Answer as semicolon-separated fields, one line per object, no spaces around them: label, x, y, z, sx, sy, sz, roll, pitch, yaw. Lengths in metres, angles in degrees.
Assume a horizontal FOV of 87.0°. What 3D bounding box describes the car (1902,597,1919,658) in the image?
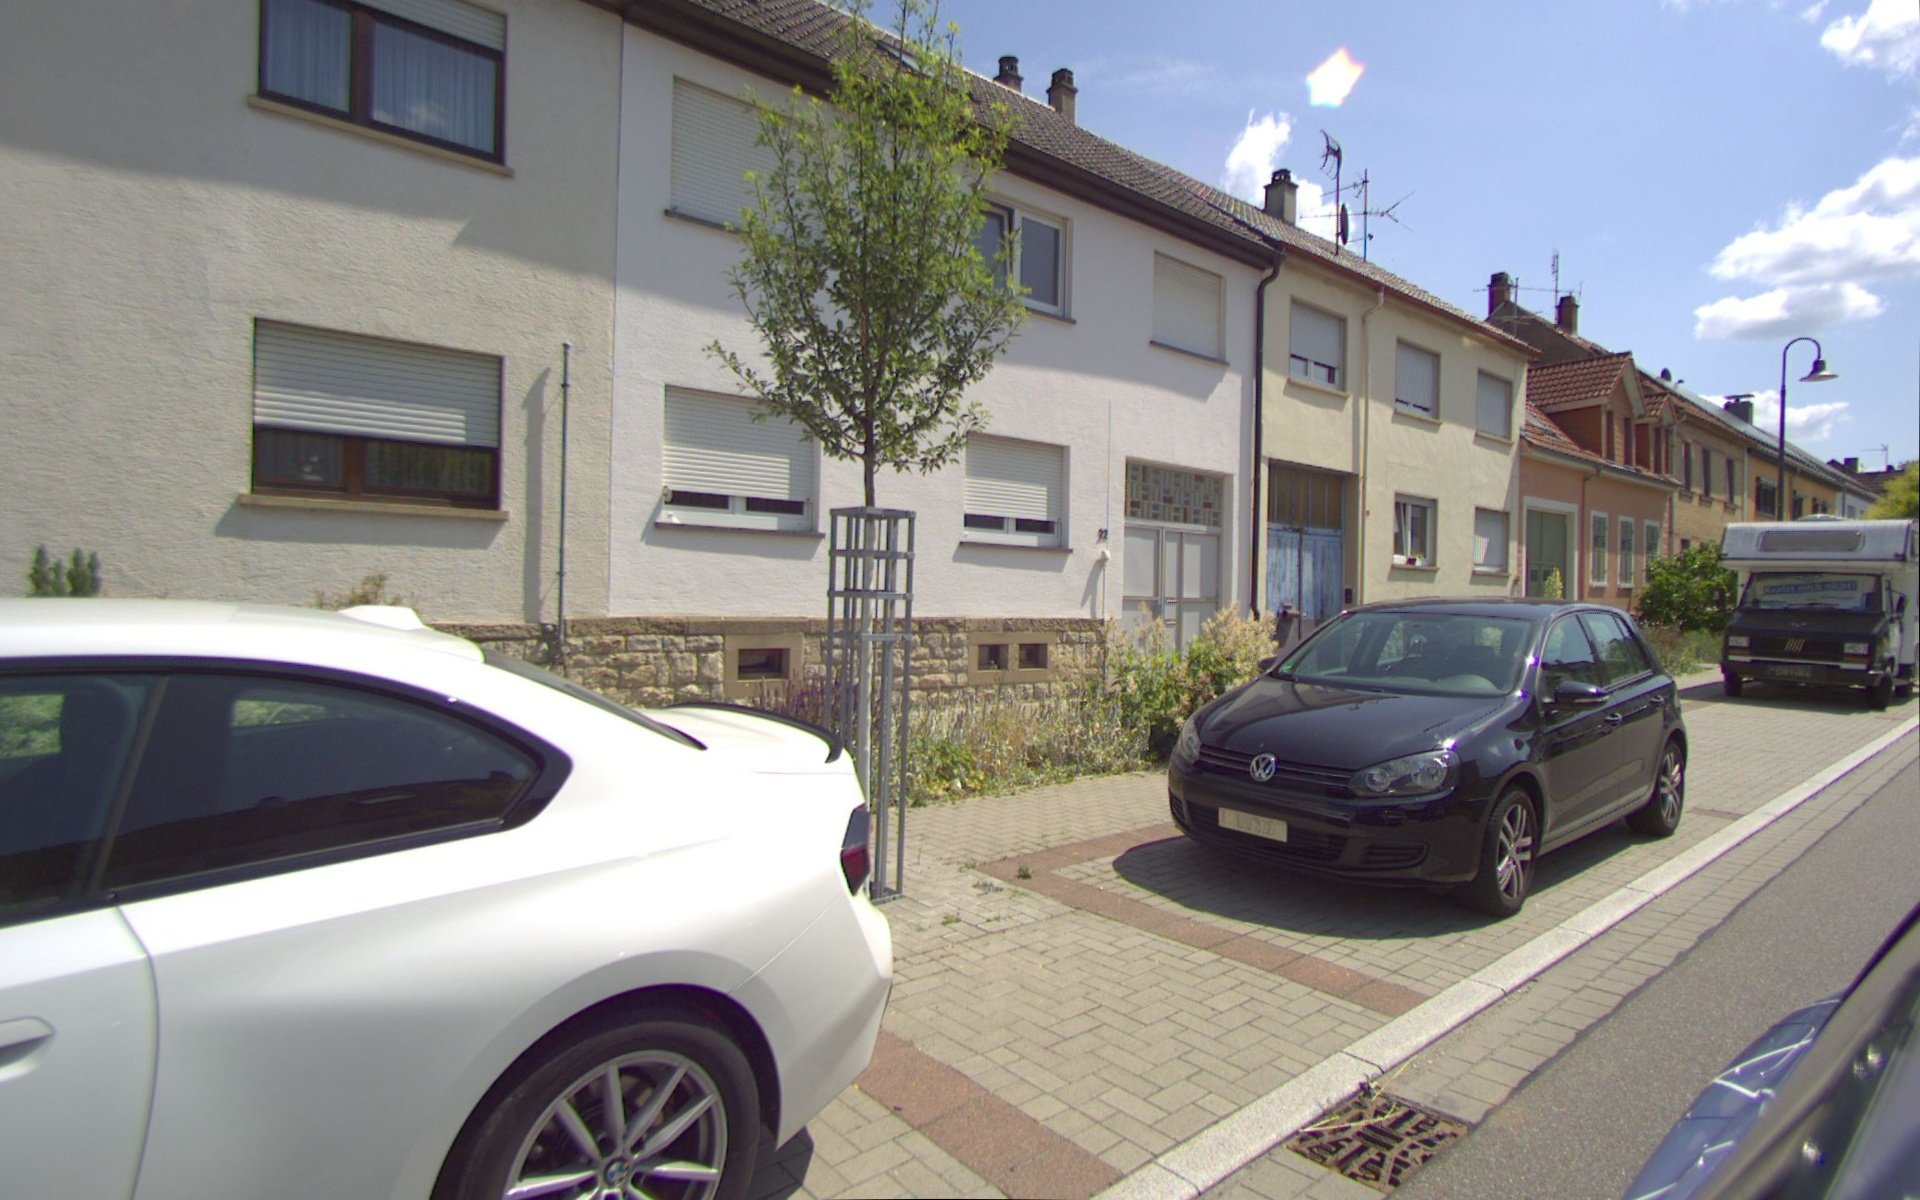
car;25.883;0.691;26.272;4.223;1.507;1.769;0;1;-43

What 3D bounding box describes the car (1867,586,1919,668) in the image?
car;21.986;0.580;22.794;4.248;1.726;1.770;0;1;-41

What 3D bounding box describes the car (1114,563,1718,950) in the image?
car;2.891;0.611;6.017;3.936;1.549;1.770;0;1;-41

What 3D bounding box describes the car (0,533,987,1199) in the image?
car;-2.180;0.640;1.677;4.443;1.484;1.834;0;1;-43

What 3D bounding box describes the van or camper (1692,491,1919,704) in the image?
van or camper;14.136;-0.060;16.332;5.689;2.845;2.478;1;2;-41
